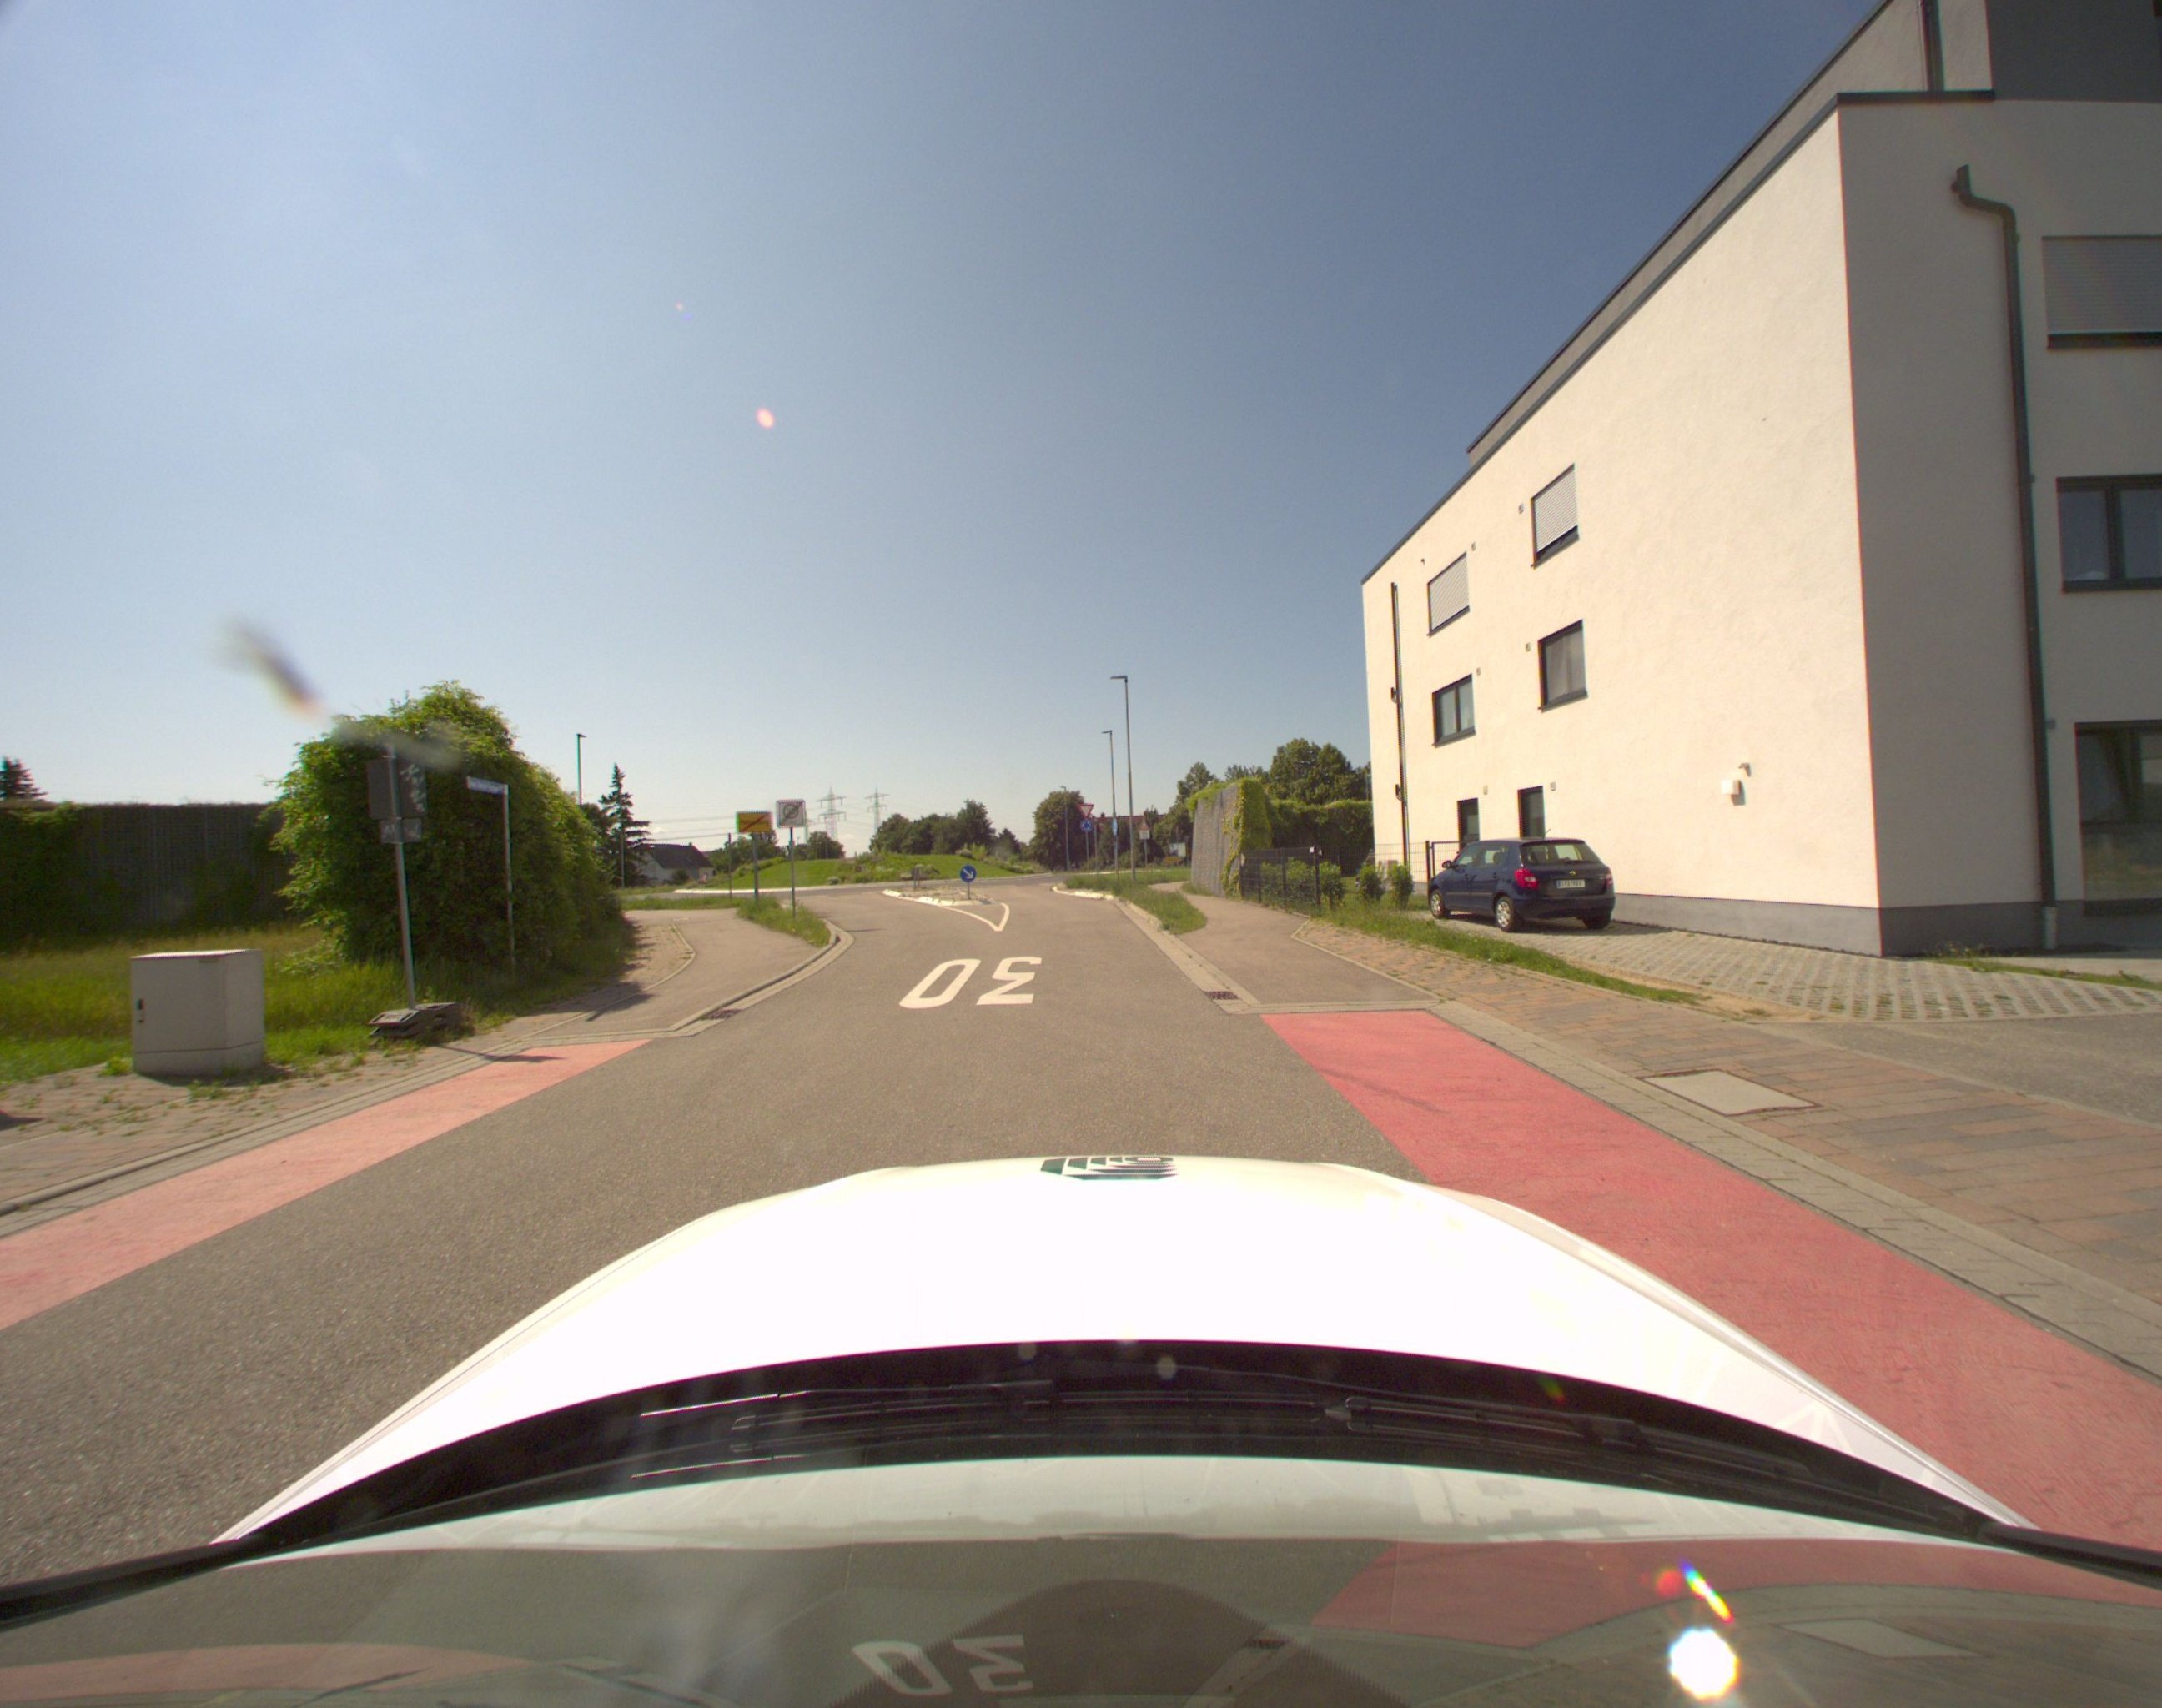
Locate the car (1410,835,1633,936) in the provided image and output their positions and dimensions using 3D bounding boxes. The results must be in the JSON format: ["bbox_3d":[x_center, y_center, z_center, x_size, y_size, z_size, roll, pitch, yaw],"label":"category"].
[{"bbox_3d":[7.496,0.468,14.369,1.672,1.469,4.115,-1,0,-1],"label":"car"}]
